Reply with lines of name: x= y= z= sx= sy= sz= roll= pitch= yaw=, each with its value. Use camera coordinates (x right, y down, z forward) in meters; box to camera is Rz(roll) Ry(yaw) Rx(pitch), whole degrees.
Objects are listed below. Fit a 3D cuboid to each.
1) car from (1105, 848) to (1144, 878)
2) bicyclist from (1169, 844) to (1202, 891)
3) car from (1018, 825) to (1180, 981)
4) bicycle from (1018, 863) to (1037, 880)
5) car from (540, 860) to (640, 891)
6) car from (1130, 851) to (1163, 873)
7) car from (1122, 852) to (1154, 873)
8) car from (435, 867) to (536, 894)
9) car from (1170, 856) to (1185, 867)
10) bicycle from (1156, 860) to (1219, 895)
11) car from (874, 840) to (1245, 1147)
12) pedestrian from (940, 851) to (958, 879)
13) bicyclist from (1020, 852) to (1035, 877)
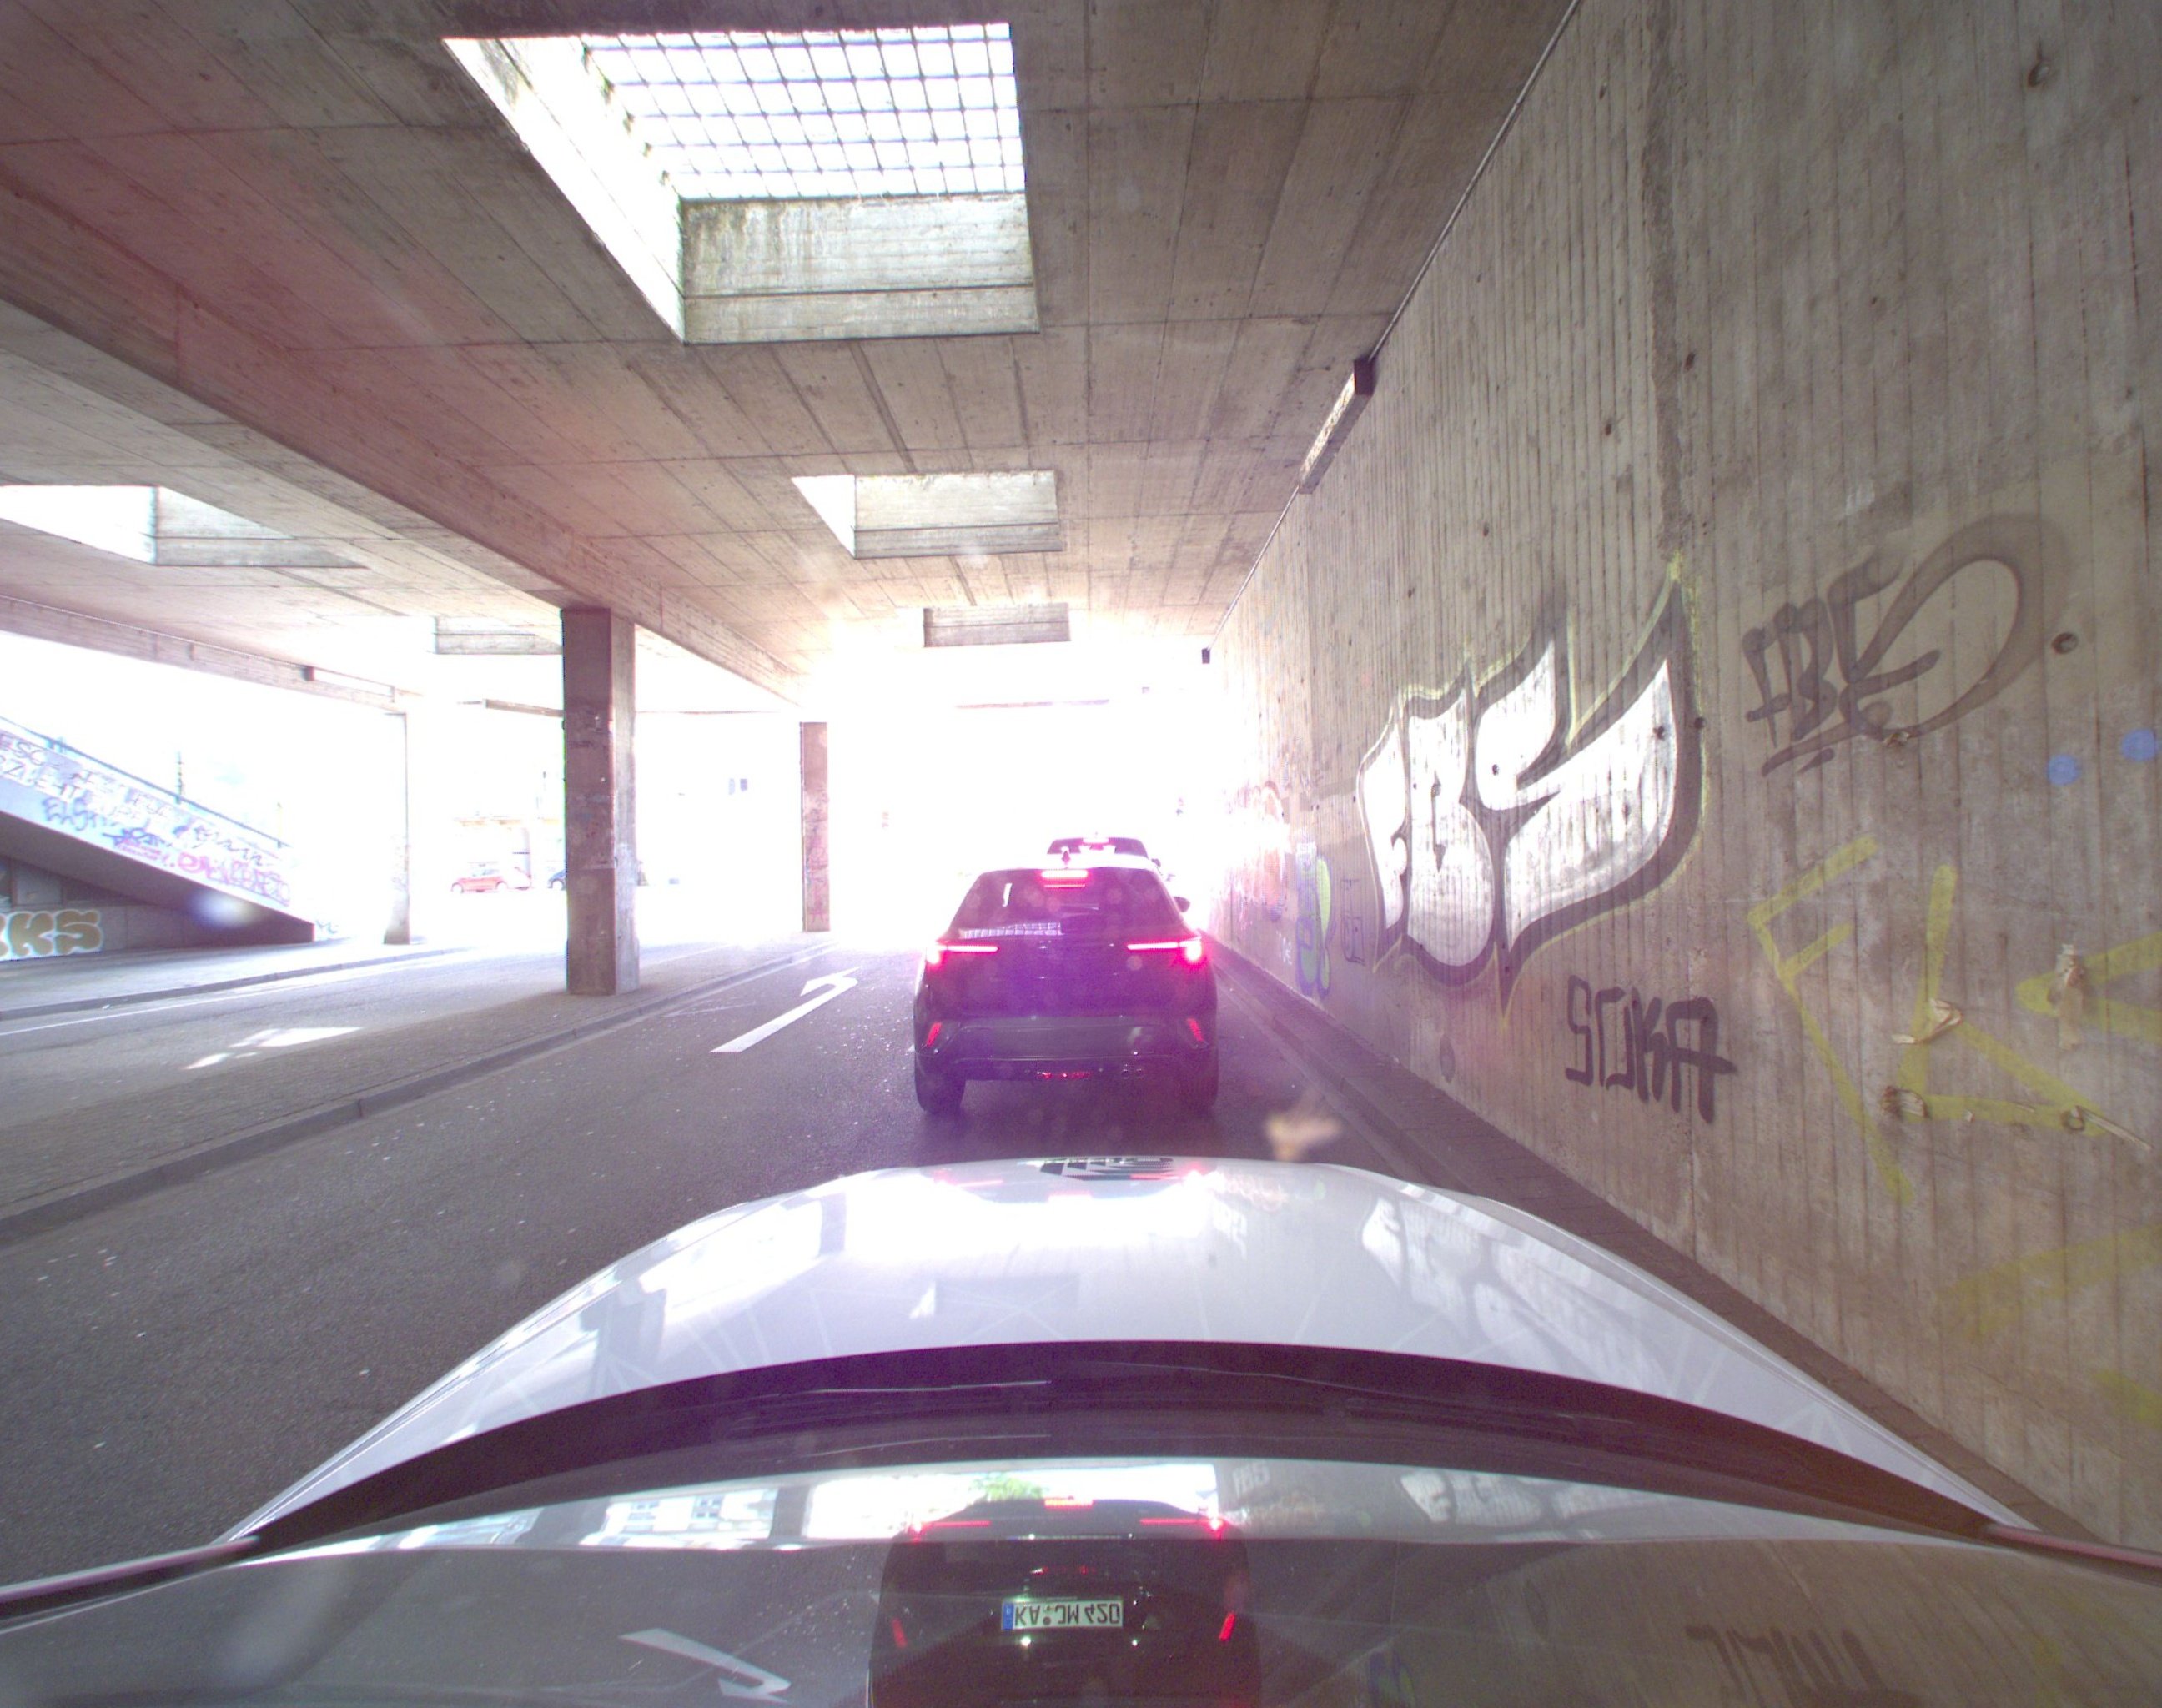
car: x=2.405 y=0.510 z=44.273 sx=1.959 sy=1.497 sz=3.900 roll=-2 pitch=-2 yaw=4
bicyclist: x=3.284 y=0.418 z=25.650 sx=0.867 sy=1.452 sz=0.745 roll=-2 pitch=0 yaw=-1
car: x=0.282 y=0.602 z=12.015 sx=1.938 sy=1.860 sz=3.966 roll=-2 pitch=0 yaw=2
bicycle: x=-3.392 y=1.109 z=51.750 sx=0.727 sy=1.067 sz=1.694 roll=-1 pitch=-1 yaw=11
car: x=-27.211 y=1.171 z=45.246 sx=4.114 sy=1.550 sz=2.268 roll=-1 pitch=0 yaw=1
car: x=5.585 y=0.697 z=69.043 sx=2.206 sy=1.719 sz=4.474 roll=-2 pitch=-2 yaw=12
car: x=4.403 y=0.651 z=62.258 sx=1.955 sy=1.497 sz=3.908 roll=-2 pitch=-2 yaw=11
car: x=-33.016 y=1.457 z=45.246 sx=3.970 sy=1.374 sz=2.192 roll=-1 pitch=0 yaw=3
car: x=14.281 y=1.085 z=120.342 sx=1.981 sy=1.662 sz=4.012 roll=0 pitch=-1 yaw=11
bicycle: x=3.351 y=0.727 z=25.676 sx=1.849 sy=1.008 sz=0.745 roll=-2 pitch=0 yaw=-1
car: x=-0.051 y=0.719 z=6.194 sx=1.875 sy=1.538 sz=3.966 roll=-2 pitch=0 yaw=2
pedestrian: x=-10.016 y=0.824 z=61.676 sx=0.986 sy=2.013 sz=1.091 roll=-2 pitch=0 yaw=10
bicyclist: x=-3.382 y=0.652 z=51.785 sx=0.724 sy=1.581 sz=0.817 roll=-1 pitch=-1 yaw=11
